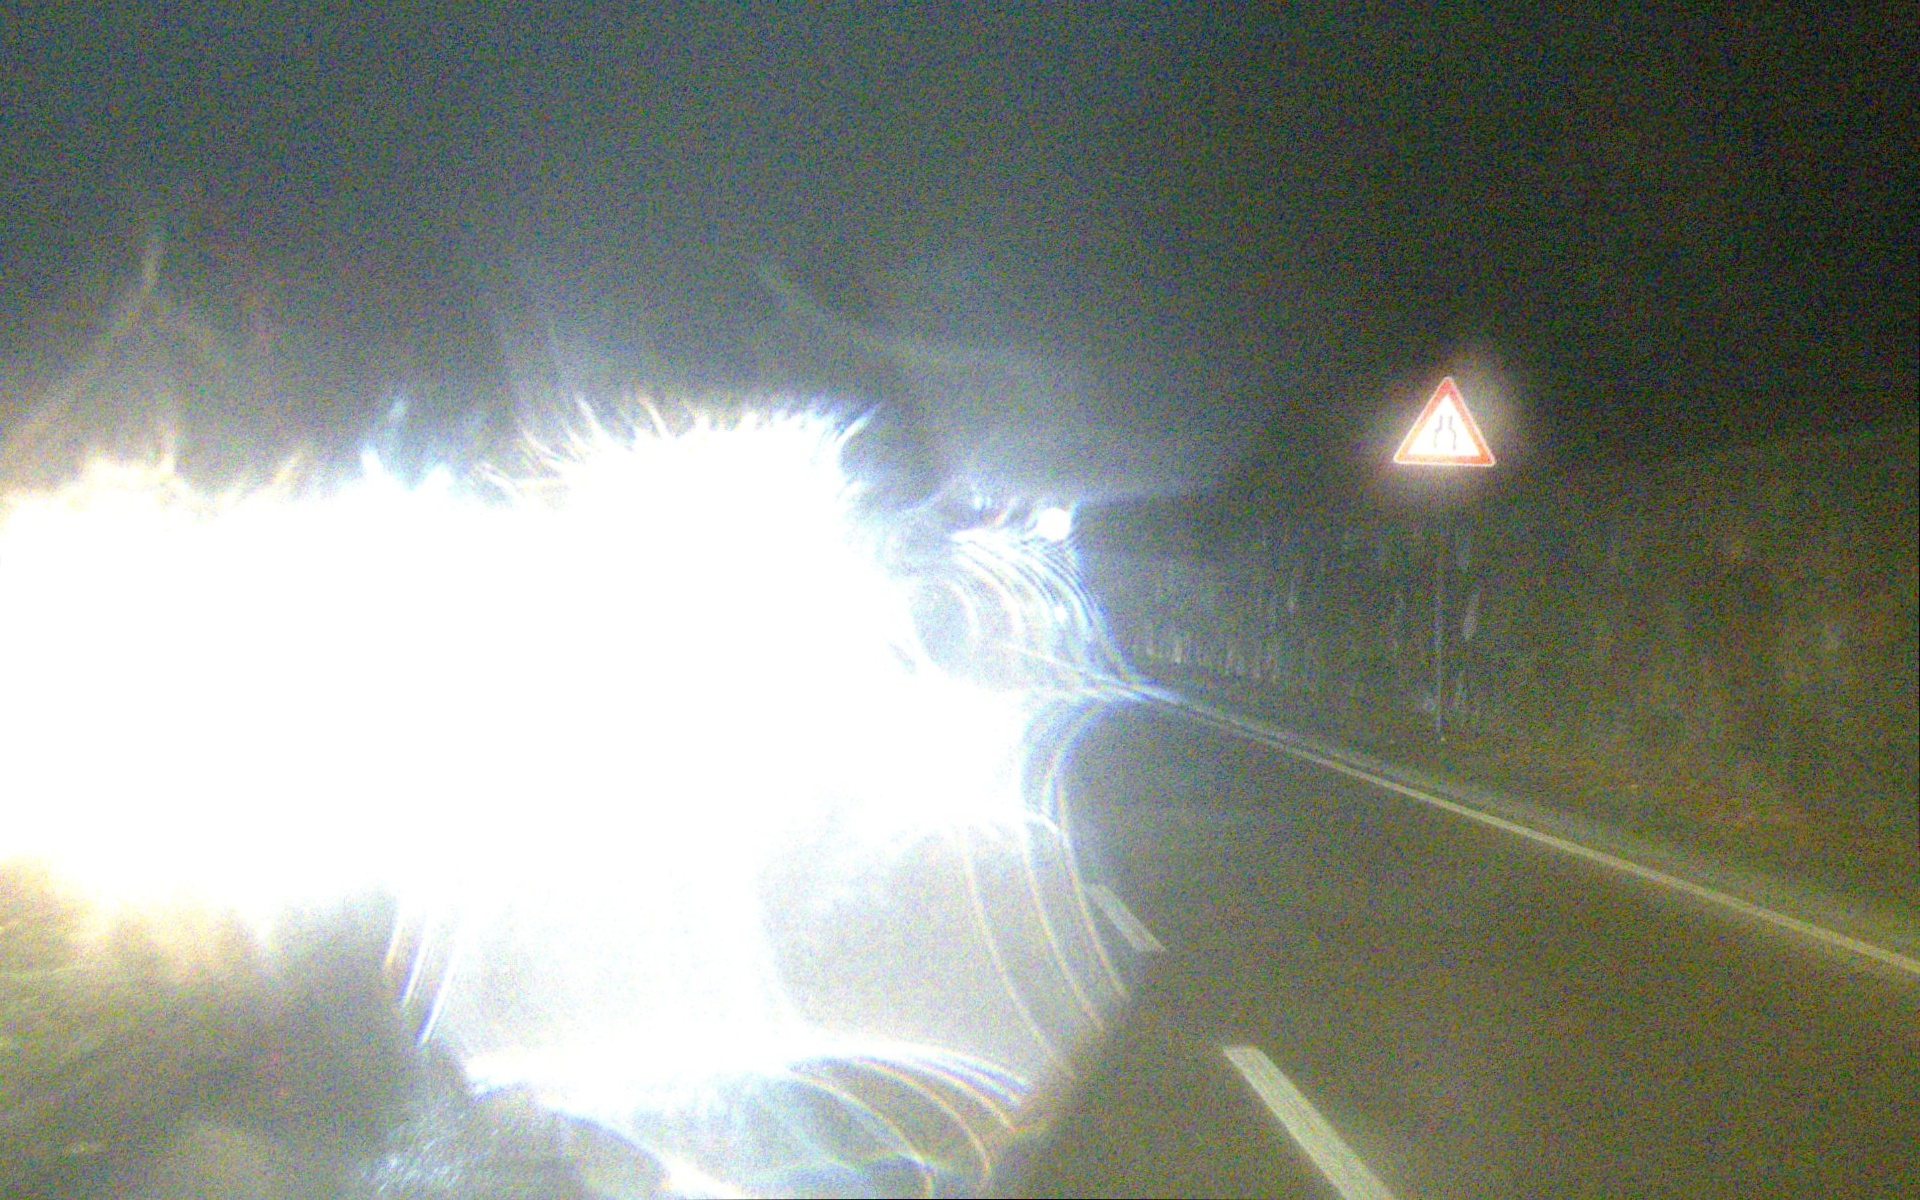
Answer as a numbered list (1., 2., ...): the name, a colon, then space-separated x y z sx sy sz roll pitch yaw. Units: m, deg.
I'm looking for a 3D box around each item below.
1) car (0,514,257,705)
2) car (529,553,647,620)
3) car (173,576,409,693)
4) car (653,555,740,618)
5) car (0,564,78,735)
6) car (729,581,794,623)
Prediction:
1. car: -9.619 0.069 38.960 2.154 2.007 4.995 1 1 1
2. car: -8.843 -0.342 82.057 2.083 1.537 4.898 0 1 3
3. car: -9.562 0.449 49.572 2.182 1.553 5.203 0 1 3
4. car: -8.025 -0.429 105.151 1.994 1.858 5.319 0 1 3
5. car: -9.604 0.433 31.340 1.966 1.524 3.687 1 1 4
6. car: -7.745 0.073 134.384 2.110 1.570 4.679 1 1 2
